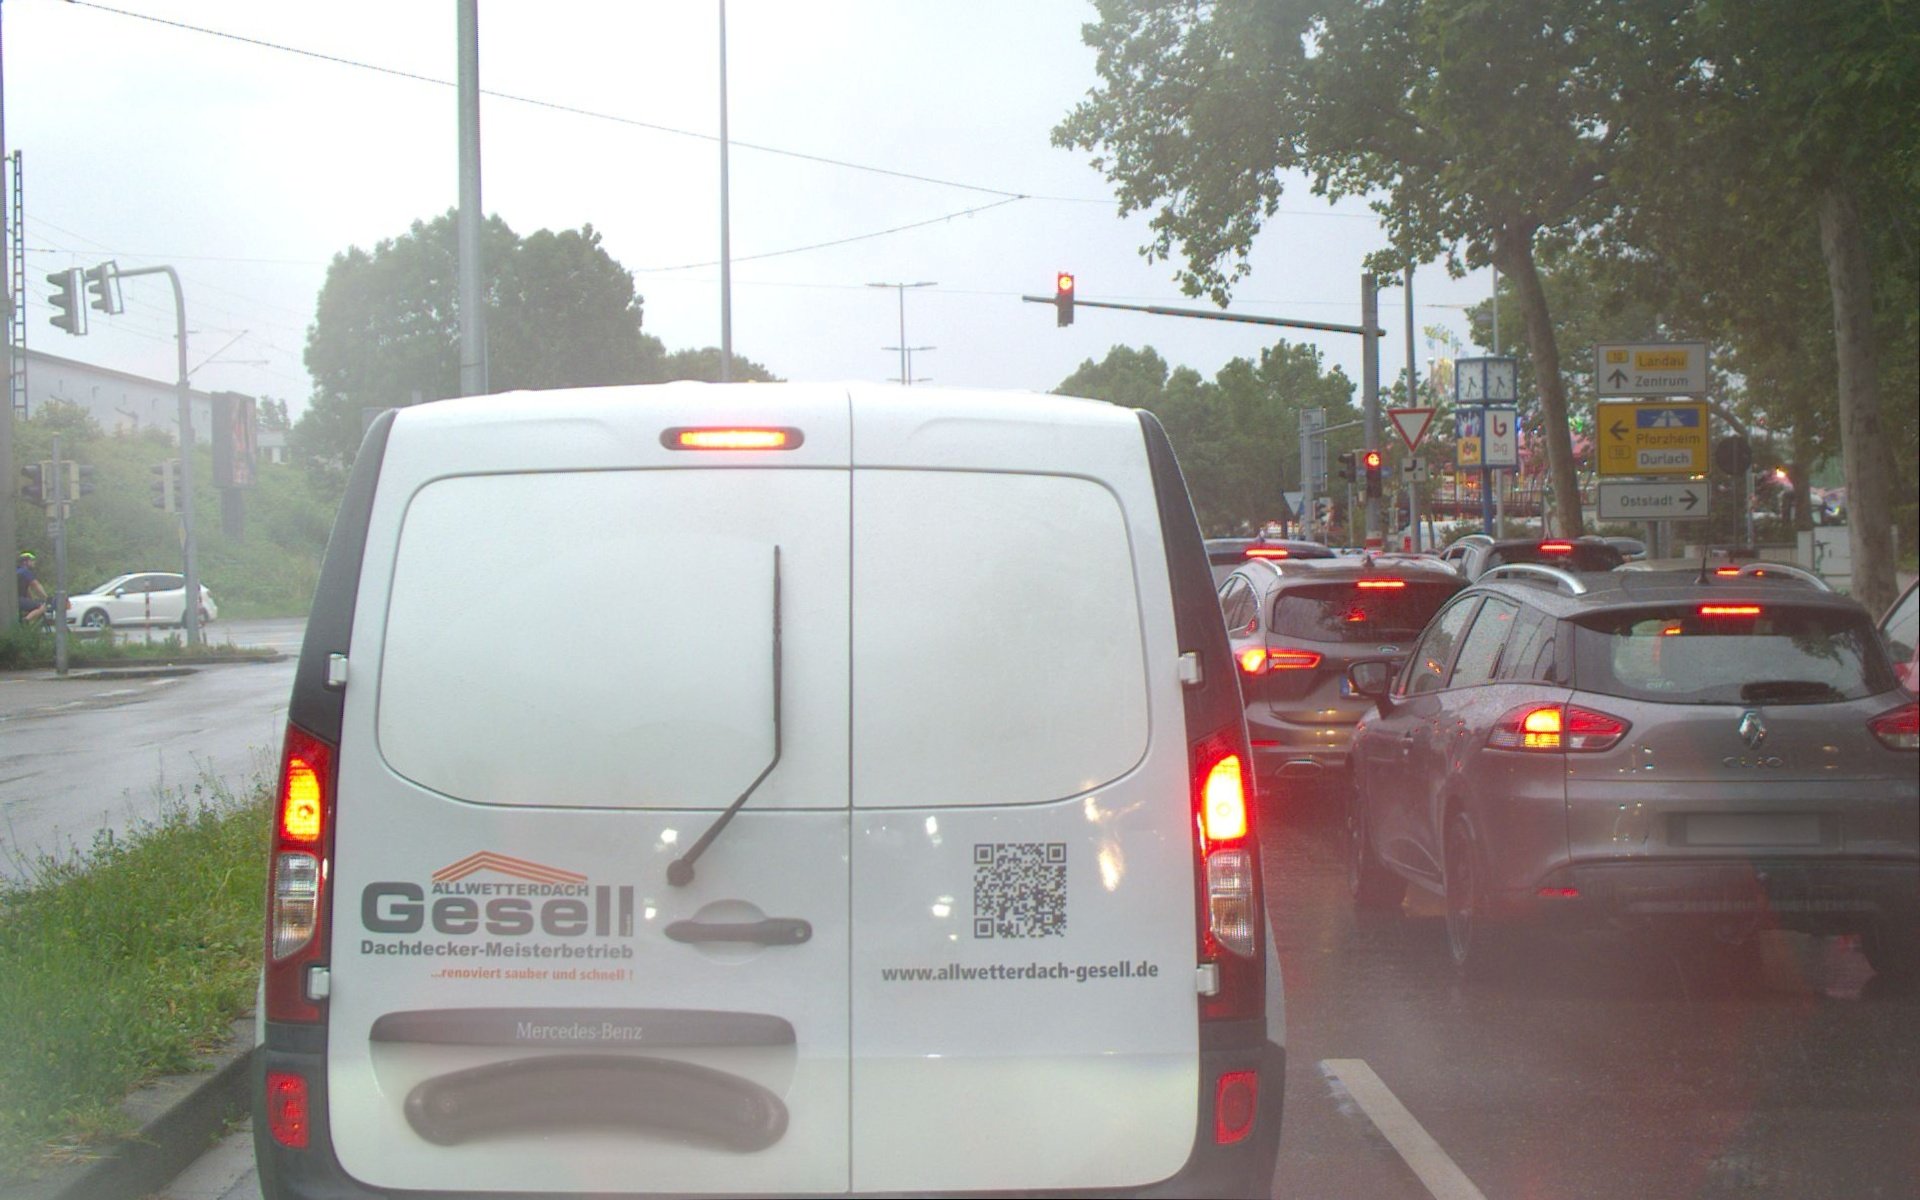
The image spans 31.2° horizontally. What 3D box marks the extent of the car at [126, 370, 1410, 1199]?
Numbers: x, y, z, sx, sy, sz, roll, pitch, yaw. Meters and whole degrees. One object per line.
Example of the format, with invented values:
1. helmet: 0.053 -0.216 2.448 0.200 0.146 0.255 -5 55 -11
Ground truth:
1. car: -0.320 0.482 7.653 1.993 1.770 4.585 0 1 -1

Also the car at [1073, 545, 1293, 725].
1. car: 2.113 0.301 33.525 1.854 1.644 3.843 0 1 -1

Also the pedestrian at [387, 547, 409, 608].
1. pedestrian: -15.701 -0.629 96.082 0.543 1.710 0.563 1 0 -4

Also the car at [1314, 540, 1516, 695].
1. car: 5.054 0.172 38.635 1.708 1.644 3.843 0 1 -1

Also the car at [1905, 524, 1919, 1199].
1. car: 2.973 0.649 5.410 1.747 1.549 4.091 0 1 -1

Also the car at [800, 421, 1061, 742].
1. car: -0.230 -0.174 26.477 1.854 2.288 3.843 0 1 -1

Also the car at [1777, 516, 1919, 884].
1. car: 5.263 0.466 16.258 1.710 1.688 4.272 1 0 -1

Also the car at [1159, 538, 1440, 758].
1. car: 2.670 0.328 27.862 1.854 1.644 3.843 0 1 -1

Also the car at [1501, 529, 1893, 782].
1. car: 5.183 0.329 24.713 1.876 1.607 4.000 1 1 -1

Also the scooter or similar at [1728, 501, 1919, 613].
1. scooter or similar: 19.988 -0.974 77.062 1.890 2.437 5.316 -1 1 -41

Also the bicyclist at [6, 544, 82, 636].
1. bicyclist: -14.771 -0.174 55.456 1.040 1.445 0.729 -2 2 -25

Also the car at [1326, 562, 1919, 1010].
1. car: 2.495 0.587 13.114 1.683 1.403 3.843 1 1 -1

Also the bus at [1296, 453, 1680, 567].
1. bus: 16.964 -2.903 110.876 11.970 3.411 2.315 -1 1 0

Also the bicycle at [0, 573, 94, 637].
1. bicycle: -14.817 0.069 55.577 1.040 0.949 2.889 -2 2 -25

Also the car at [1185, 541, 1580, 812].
1. car: 2.429 0.383 20.634 1.854 1.455 3.843 0 1 -1

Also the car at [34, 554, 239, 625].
1. car: -19.443 -0.263 81.221 4.235 1.590 2.000 -2 1 -35
